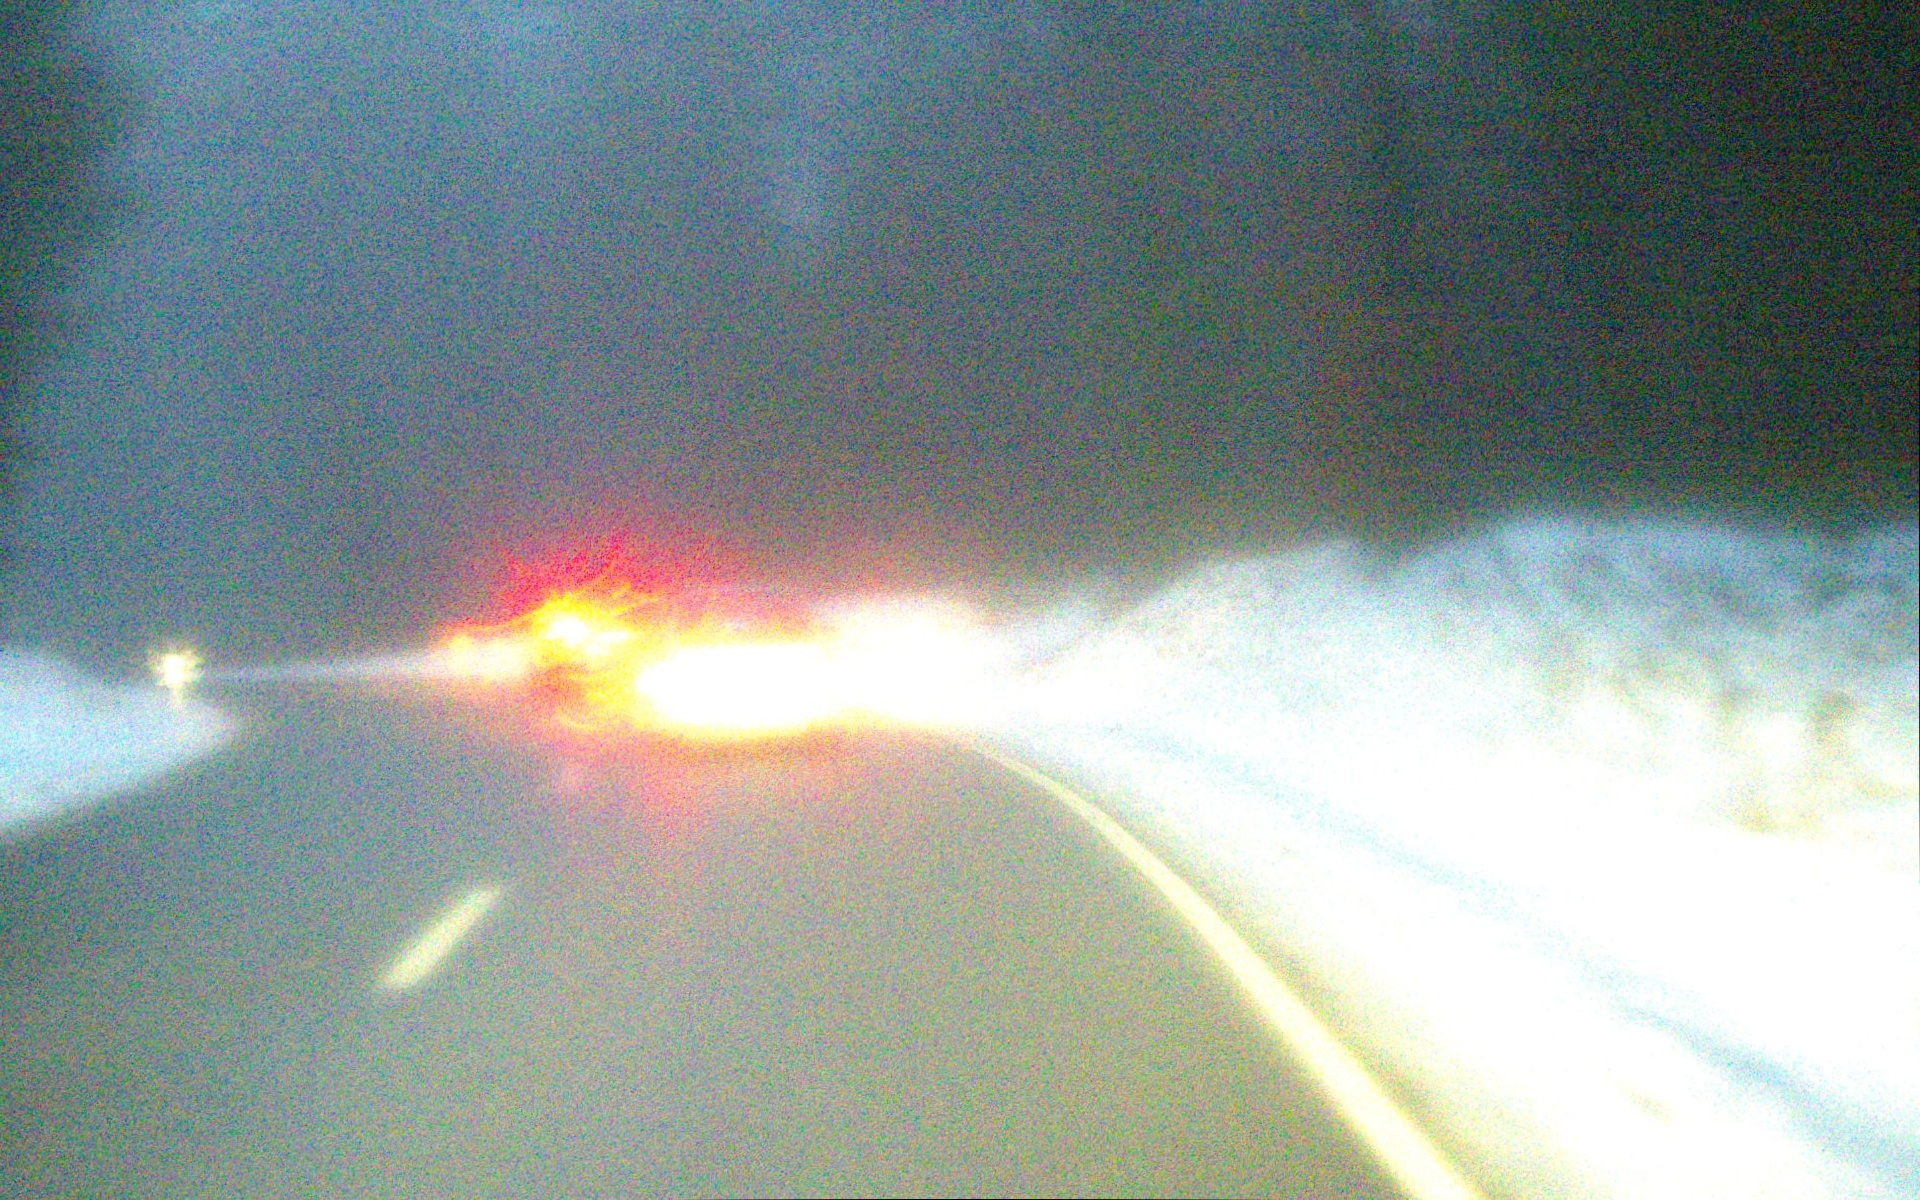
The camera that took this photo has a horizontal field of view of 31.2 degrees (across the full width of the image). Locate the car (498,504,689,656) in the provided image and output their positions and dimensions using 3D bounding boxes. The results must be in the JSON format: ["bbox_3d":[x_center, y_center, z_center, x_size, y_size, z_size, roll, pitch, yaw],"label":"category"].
[{"bbox_3d":[-5.122,-0.233,47.589,1.993,1.777,4.000,4,-3,-14],"label":"car"}]

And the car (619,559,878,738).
[{"bbox_3d":[-1.894,0.459,29.675,1.945,1.377,4.000,2,-2,-7],"label":"car"}]
